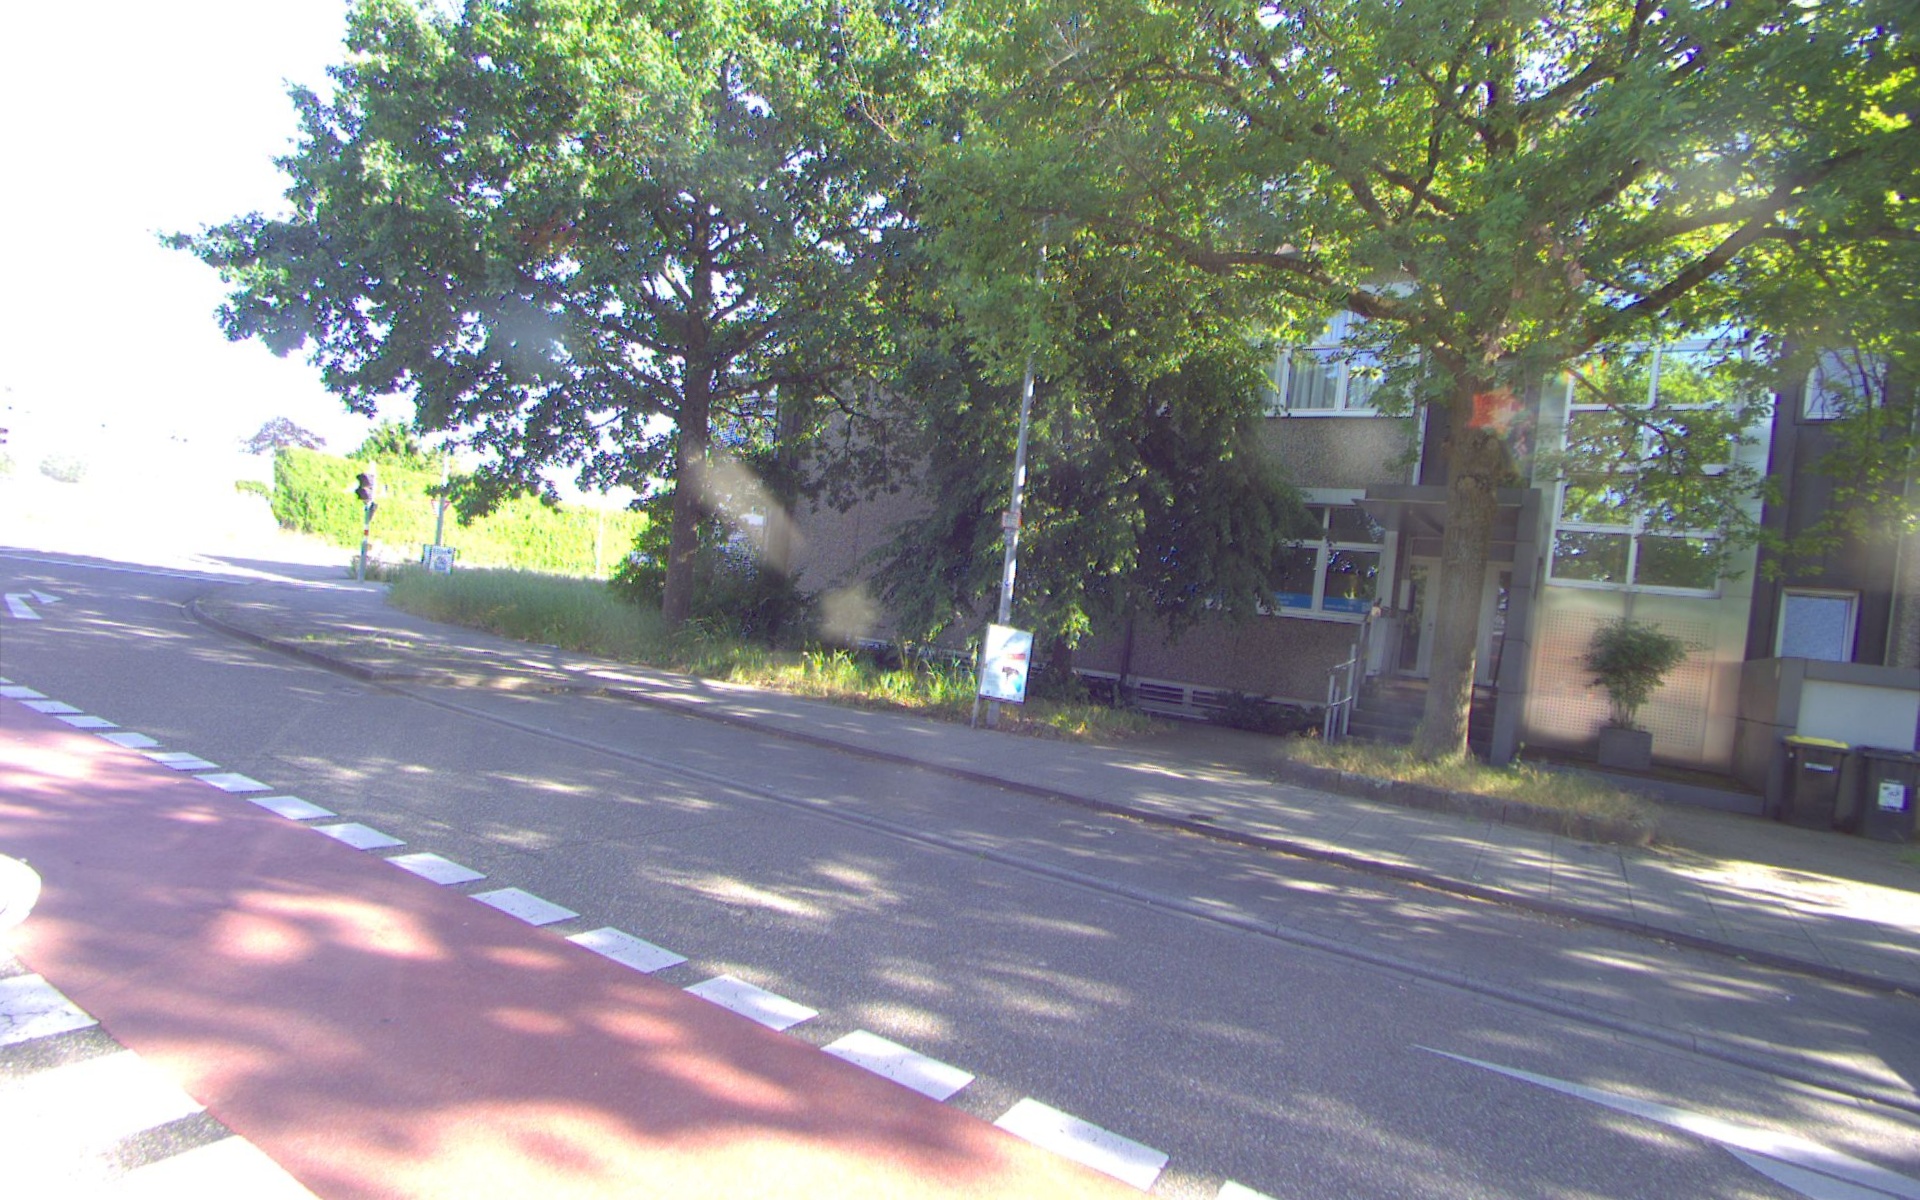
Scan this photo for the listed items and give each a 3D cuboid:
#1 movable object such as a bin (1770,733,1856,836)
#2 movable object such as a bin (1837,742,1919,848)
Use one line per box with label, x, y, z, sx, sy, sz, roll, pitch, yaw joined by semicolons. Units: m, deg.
movable object such as a bin;10.165;2.182;12.011;0.575;1.070;0.625;7;0;30
movable object such as a bin;10.753;2.250;11.717;0.605;1.075;0.634;6;0;30
